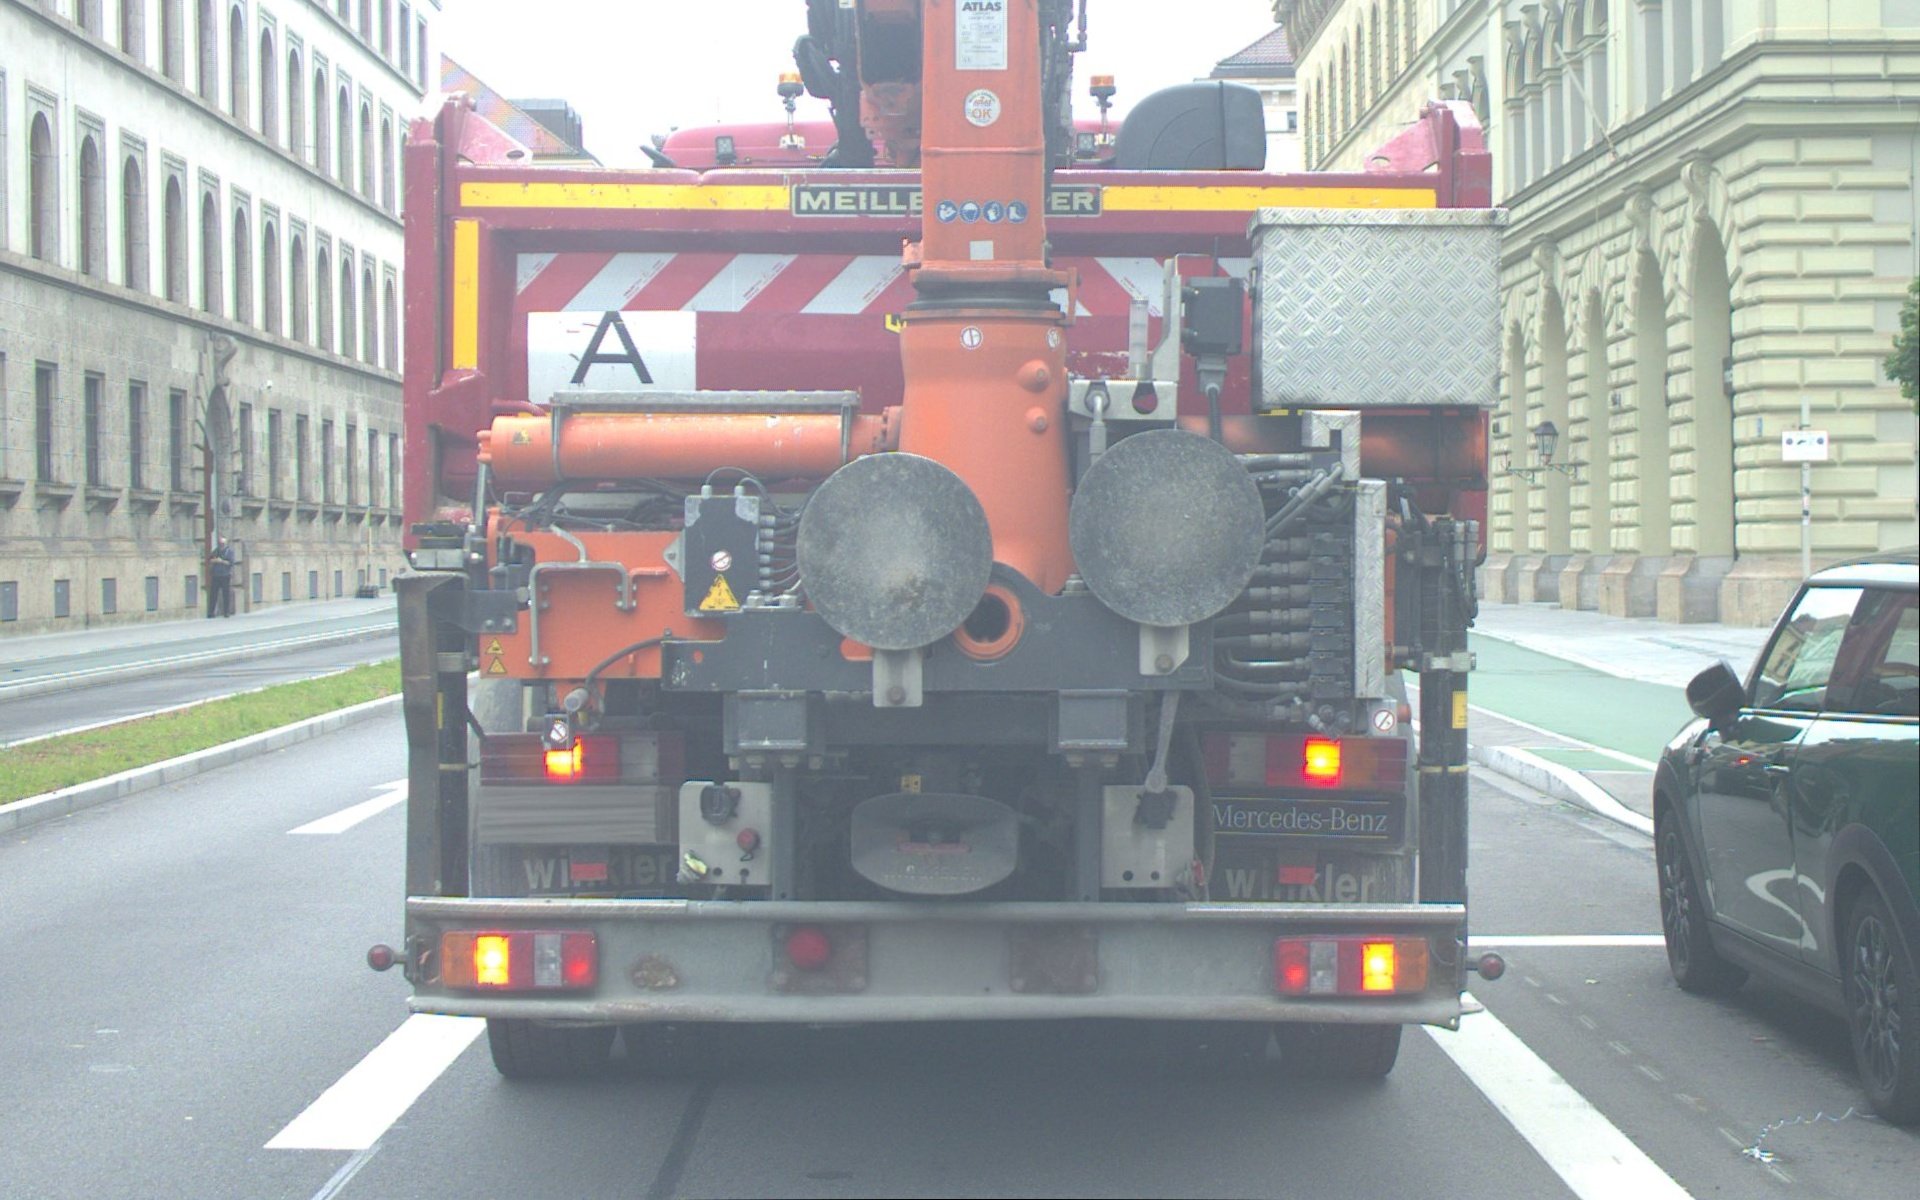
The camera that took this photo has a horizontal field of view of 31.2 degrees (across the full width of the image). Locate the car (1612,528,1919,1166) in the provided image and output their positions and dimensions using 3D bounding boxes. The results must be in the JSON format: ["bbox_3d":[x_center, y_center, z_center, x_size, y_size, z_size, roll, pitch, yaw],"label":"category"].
[{"bbox_3d":[3.005,0.544,9.835,1.610,1.490,3.424,-1,1,0],"label":"car"}]

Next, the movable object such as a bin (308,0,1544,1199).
[{"bbox_3d":[-0.112,-0.520,9.682,2.423,3.599,5.852,0,1,-1],"label":"movable object such as a bin"}]

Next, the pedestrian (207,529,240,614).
[{"bbox_3d":[-15.833,-0.620,73.914,0.588,1.825,0.499,0,1,-1],"label":"pedestrian"}]

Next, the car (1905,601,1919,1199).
[{"bbox_3d":[2.578,0.747,4.095,1.680,1.381,4.427,0,1,0],"label":"car"}]

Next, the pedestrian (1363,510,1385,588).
[{"bbox_3d":[9.801,-1.207,81.346,0.445,1.830,0.556,-1,1,1],"label":"pedestrian"}]
